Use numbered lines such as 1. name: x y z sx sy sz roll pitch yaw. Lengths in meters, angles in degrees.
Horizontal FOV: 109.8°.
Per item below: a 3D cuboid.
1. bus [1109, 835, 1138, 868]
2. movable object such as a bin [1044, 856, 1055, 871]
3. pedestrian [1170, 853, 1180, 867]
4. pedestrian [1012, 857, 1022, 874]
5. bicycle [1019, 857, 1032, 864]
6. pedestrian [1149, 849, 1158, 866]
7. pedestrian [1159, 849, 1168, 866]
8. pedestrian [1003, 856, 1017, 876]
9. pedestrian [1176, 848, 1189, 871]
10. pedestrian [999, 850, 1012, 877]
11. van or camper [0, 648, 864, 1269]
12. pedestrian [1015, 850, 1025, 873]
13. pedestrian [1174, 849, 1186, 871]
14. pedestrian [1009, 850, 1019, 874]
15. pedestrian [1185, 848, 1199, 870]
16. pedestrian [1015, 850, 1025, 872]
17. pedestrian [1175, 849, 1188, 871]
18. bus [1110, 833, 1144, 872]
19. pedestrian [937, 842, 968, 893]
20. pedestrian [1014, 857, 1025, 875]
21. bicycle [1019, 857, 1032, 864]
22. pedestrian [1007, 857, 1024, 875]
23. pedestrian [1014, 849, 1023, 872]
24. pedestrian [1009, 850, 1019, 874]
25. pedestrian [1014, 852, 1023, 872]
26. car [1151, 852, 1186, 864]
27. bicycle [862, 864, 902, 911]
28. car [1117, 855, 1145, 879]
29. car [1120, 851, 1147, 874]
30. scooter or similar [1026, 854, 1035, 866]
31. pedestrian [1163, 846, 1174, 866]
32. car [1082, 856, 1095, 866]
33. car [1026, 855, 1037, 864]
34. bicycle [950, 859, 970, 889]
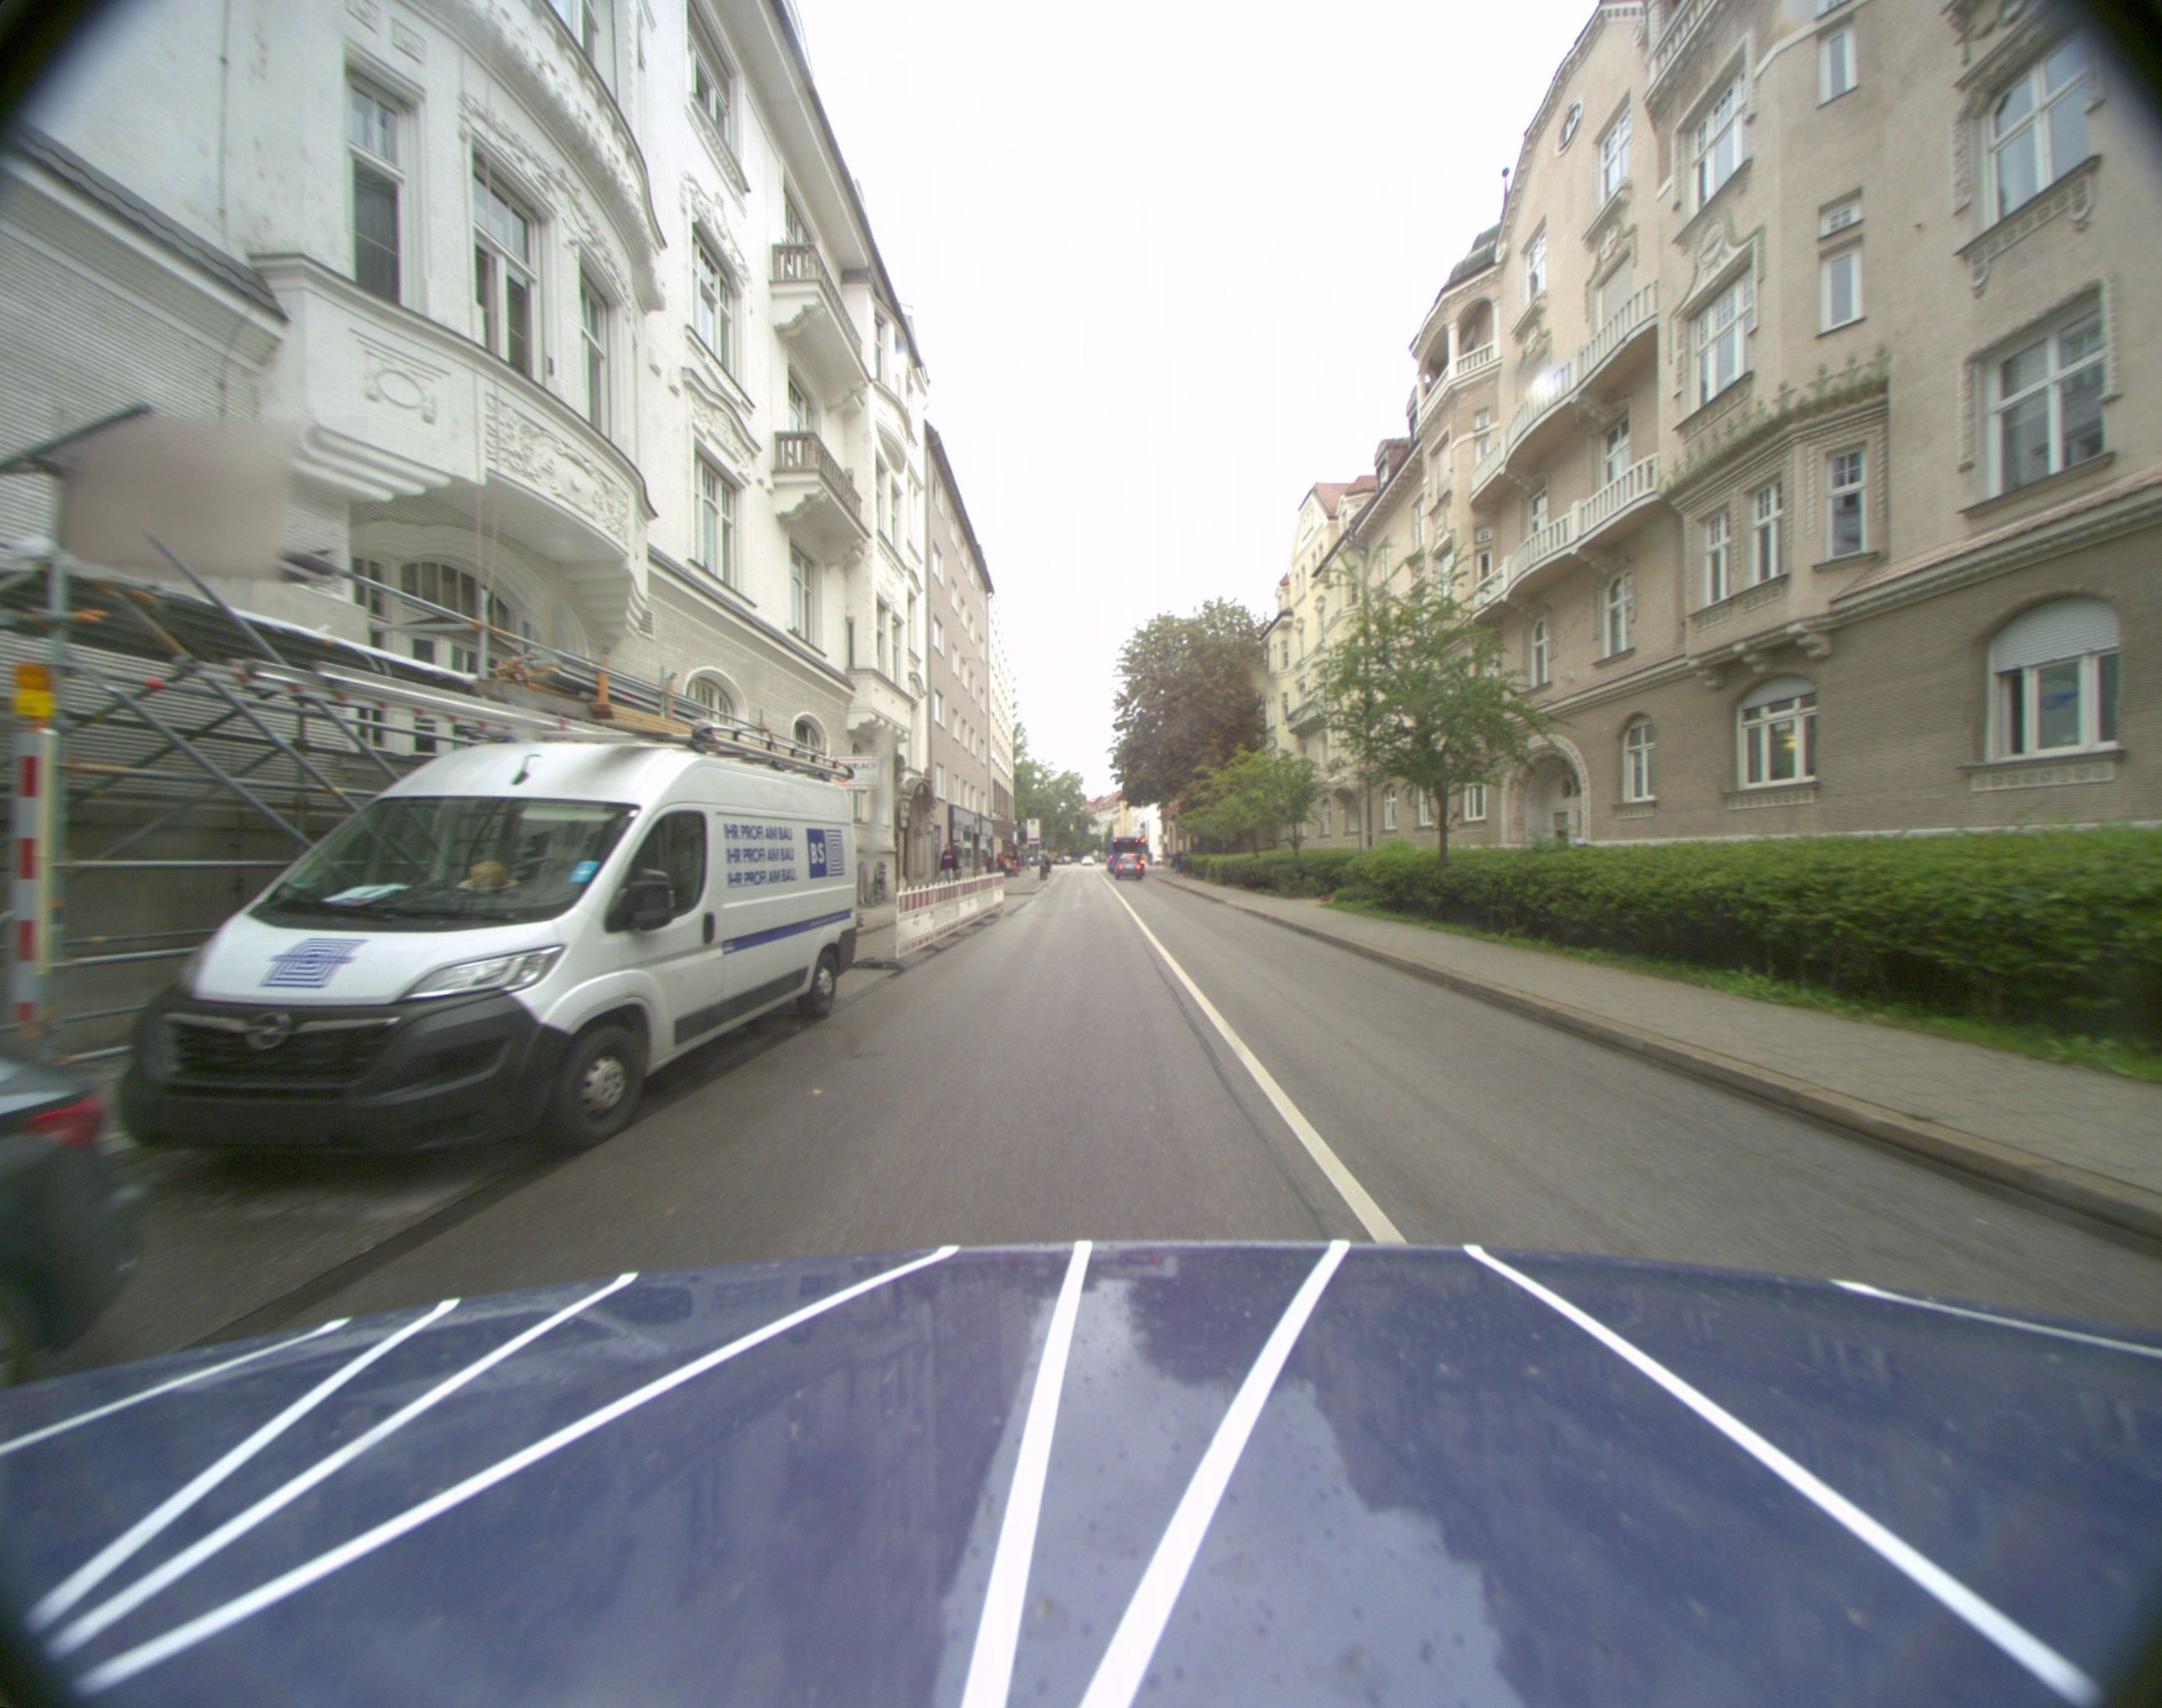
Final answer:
1. bus: 4.044 -0.229 74.389 2.586 3.083 9.108 0 0 1
2. movable object such as a bin: -2.798 0.833 67.450 0.877 1.243 0.798 0 1 -5
3. pedestrian: 8.538 0.537 69.088 0.830 1.333 0.754 0 1 -1
4. pedestrian: -4.591 0.821 54.330 0.681 1.230 0.495 0 1 1
5. bicycle: -8.961 1.048 123.037 2.124 1.110 0.738 0 1 -10
6. pedestrian: 8.682 0.418 90.861 0.952 2.002 1.397 -1 1 11
7. pedestrian: 9.923 0.377 91.004 0.952 2.002 1.397 -1 1 11
8. pedestrian: -4.767 0.779 51.090 0.862 1.344 0.862 0 1 1
9. pedestrian: 7.944 0.438 59.523 0.875 1.735 0.786 -1 1 0
10. pedestrian: -4.807 0.594 48.409 0.704 1.723 0.746 0 1 1
11. van or camper: -3.537 0.442 5.943 1.958 2.621 5.458 -1 0 1
12. pedestrian: -4.695 0.580 58.205 0.659 1.723 0.696 0 1 1
13. pedestrian: 7.879 0.439 60.413 0.875 1.735 0.910 -1 1 0
14. pedestrian: -4.964 0.583 56.297 0.659 1.723 0.778 0 1 1
15. pedestrian: 8.866 0.381 60.535 0.784 1.735 0.877 0 1 33
16. pedestrian: -4.982 0.539 62.058 0.659 1.773 0.771 0 1 1
17. pedestrian: 7.770 0.463 58.665 0.910 1.735 0.847 -1 1 0
18. bus: 3.836 -0.139 65.438 2.586 3.083 8.923 0 0 1
19. pedestrian: -4.959 0.521 29.294 0.929 1.899 1.179 2 1 0
20. pedestrian: -4.342 0.834 53.823 0.709 1.230 0.585 0 1 1
21. bicycle: -9.193 1.048 125.559 2.124 1.110 0.629 0 1 -10
22. pedestrian: -4.547 0.817 52.785 1.099 1.230 0.668 0 1 1
23. pedestrian: -5.029 0.519 61.290 0.659 1.812 0.696 0 1 1
24. pedestrian: -4.850 0.577 54.901 0.659 1.723 0.684 0 1 1
25. pedestrian: -4.965 0.638 60.074 0.659 1.584 0.696 0 1 1
26. car: 11.331 0.471 98.425 4.276 1.510 1.999 -1 1 -3
27. bicycle: -5.645 0.925 21.637 0.662 1.199 1.921 3 0 -3
28. car: 3.182 0.788 48.957 1.588 1.470 3.782 0 0 1
29. car: 3.808 0.579 55.851 1.772 1.635 4.273 0 0 1
30. scooter or similar: -5.159 0.606 77.191 0.563 1.234 1.445 -1 1 11
31. pedestrian: 8.834 0.156 76.832 0.832 2.002 0.778 -2 1 -42
32. car: 1.213 1.119 124.684 1.927 1.608 4.000 -1 0 0
33. car: -8.866 1.045 137.226 1.719 1.543 3.999 0 0 -1
34. bicycle: -5.370 0.875 33.672 0.513 1.253 1.820 3 0 1
